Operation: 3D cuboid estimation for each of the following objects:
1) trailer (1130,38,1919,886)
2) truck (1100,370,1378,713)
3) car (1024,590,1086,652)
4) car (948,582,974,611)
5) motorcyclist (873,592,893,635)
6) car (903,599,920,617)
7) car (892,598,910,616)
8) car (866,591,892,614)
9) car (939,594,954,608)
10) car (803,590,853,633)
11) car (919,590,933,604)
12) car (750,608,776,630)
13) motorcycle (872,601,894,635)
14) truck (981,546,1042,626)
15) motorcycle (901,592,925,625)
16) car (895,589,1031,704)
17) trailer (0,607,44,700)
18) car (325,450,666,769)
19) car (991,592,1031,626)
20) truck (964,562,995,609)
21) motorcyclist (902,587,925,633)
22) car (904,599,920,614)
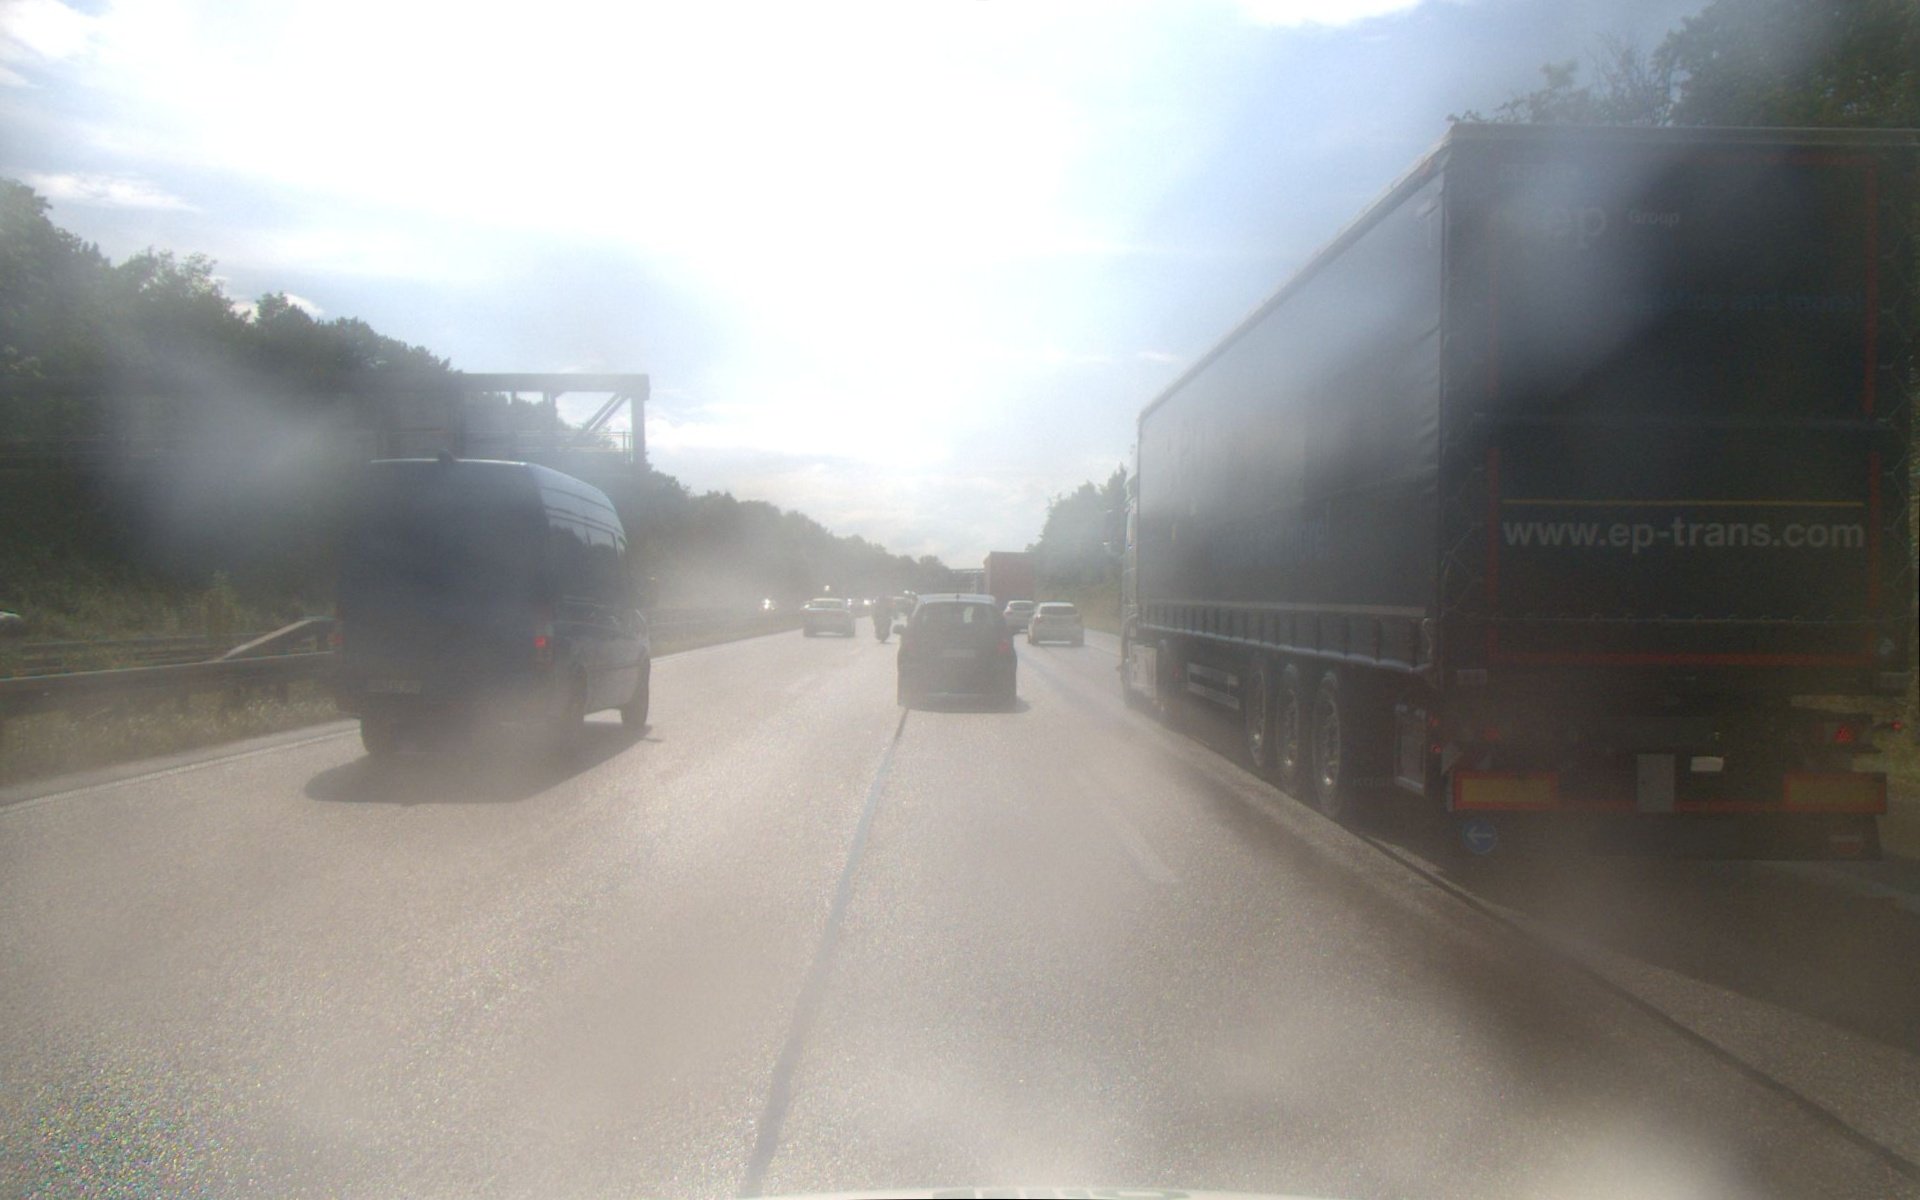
[{"bbox_3d":[3.933,-0.719,15.660,3.025,4.388,14.102,0,0,-1],"label":"trailer"},{"bbox_3d":[3.857,-0.742,24.330,2.990,4.401,5.885,1,0,-1],"label":"truck"},{"bbox_3d":[3.227,0.704,56.750,1.811,2.049,4.086,1,0,-1],"label":"car"},{"bbox_3d":[0.041,-0.223,113.962,1.641,1.970,3.772,0,0,-2],"label":"car"},{"bbox_3d":[-2.633,0.456,56.451,0.657,1.467,1.019,1,0,-4],"label":"motorcyclist"},{"bbox_3d":[-5.786,0.965,196.166,1.953,2.049,3.999,1,0,-2],"label":"car"},{"bbox_3d":[-5.397,0.636,151.253,1.641,1.625,3.435,0,0,-2],"label":"car"},{"bbox_3d":[-5.995,0.164,122.855,1.854,1.656,4.193,0,0,-2],"label":"car"},{"bbox_3d":[-1.483,0.098,178.064,1.599,1.516,3.435,0,0,-2],"label":"car"},{"bbox_3d":[-5.148,0.451,65.076,1.723,1.622,4.329,0,0,-2],"label":"car"},{"bbox_3d":[-4.978,-0.472,241.269,1.953,2.049,3.999,1,0,-2],"label":"car"},{"bbox_3d":[-18.969,1.790,159.442,1.953,2.049,4.731,1,0,-1],"label":"car"},{"bbox_3d":[-2.623,0.599,56.345,0.662,1.106,1.980,1,0,-4],"label":"motorcycle"},{"bbox_3d":[2.931,-0.783,97.385,3.137,4.481,9.430,0,0,-1],"label":"truck"},{"bbox_3d":[-1.849,0.325,65.123,0.804,1.285,2.115,1,0,-6],"label":"motorcycle"},{"bbox_3d":[-0.013,0.653,25.239,1.876,1.592,4.312,0,0,-2],"label":"car"},{"bbox_3d":[-22.139,1.175,36.190,1.953,2.049,3.999,1,0,-1],"label":"trailer"},{"bbox_3d":[-4.458,0.080,16.936,1.975,2.695,5.775,0,0,-2],"label":"car"},{"bbox_3d":[2.363,0.403,77.134,1.641,1.516,3.435,0,0,-2],"label":"car"},{"bbox_3d":[2.022,-1.478,177.980,2.823,4.769,12.655,1,0,-1],"label":"truck"},{"bbox_3d":[-1.847,0.406,65.074,0.805,1.791,1.389,1,0,-6],"label":"motorcyclist"},{"bbox_3d":[-5.110,0.699,176.909,1.641,1.516,3.435,0,0,-2],"label":"car"}]
